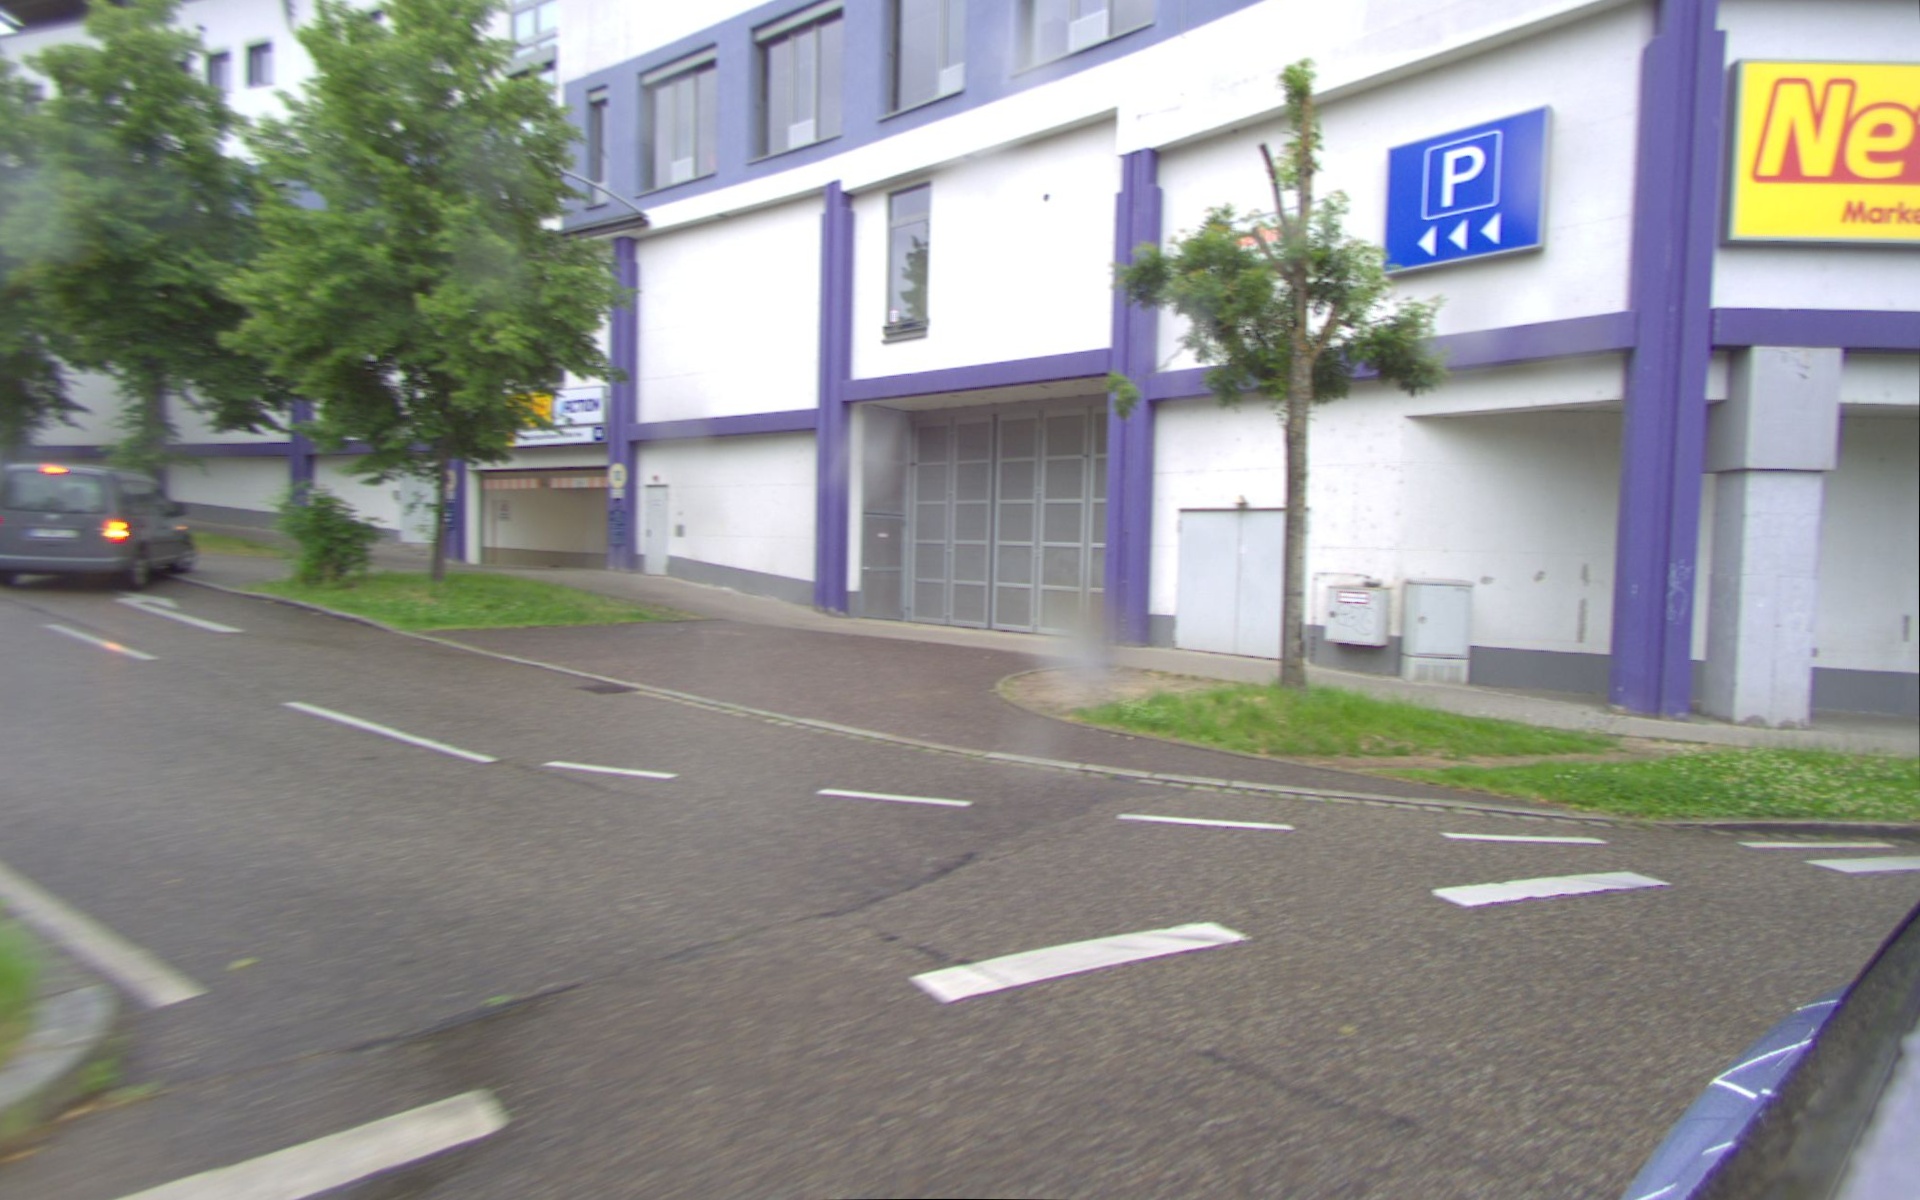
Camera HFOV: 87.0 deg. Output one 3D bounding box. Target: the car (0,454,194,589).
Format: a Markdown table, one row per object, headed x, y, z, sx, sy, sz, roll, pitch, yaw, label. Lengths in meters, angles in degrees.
| x | y | z | sx | sy | sz | roll | pitch | yaw | label |
| --- | --- | --- | --- | --- | --- | --- | --- | --- | --- |
| -13.742 | -1.306 | 16.076 | 1.885 | 1.822 | 3.800 | 2 | 5 | -28 | car |
